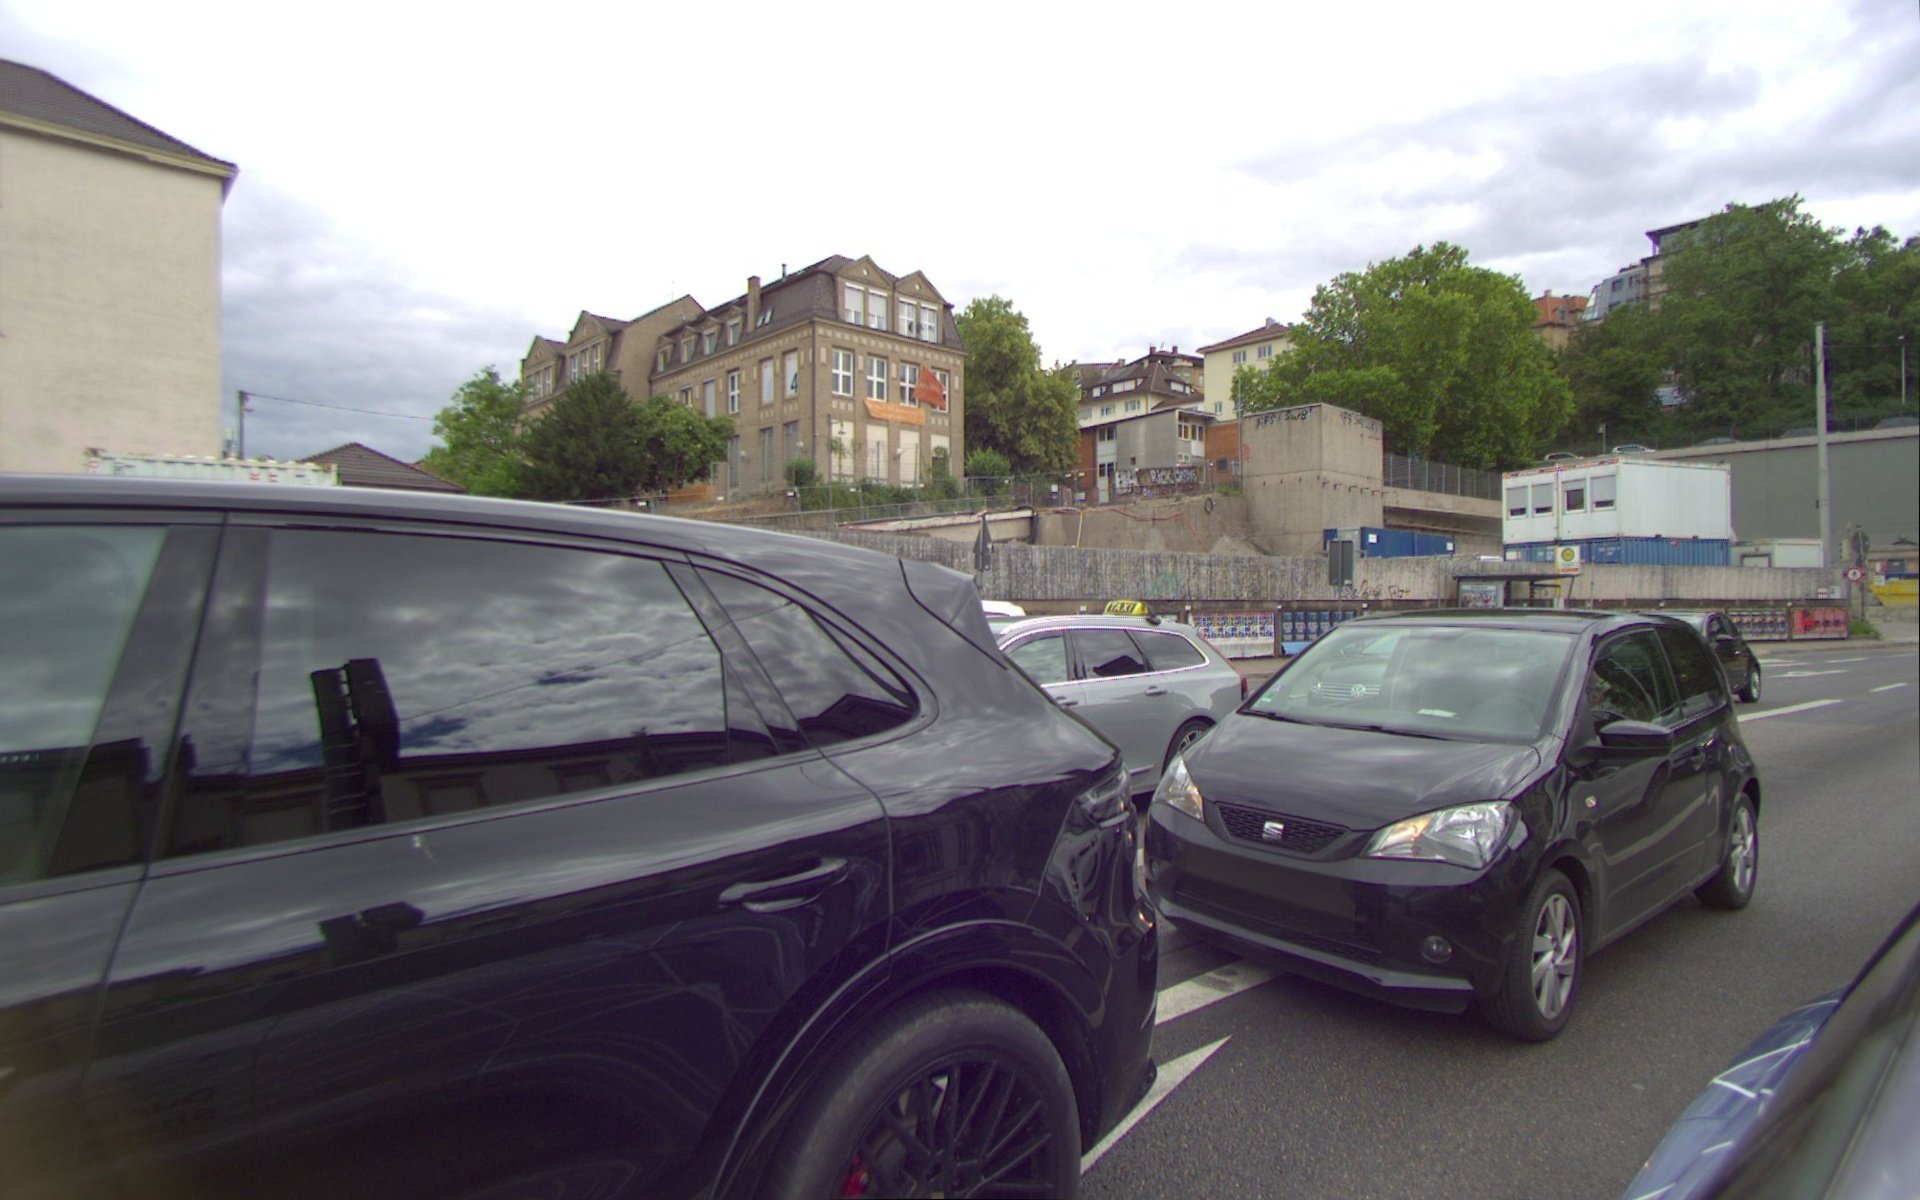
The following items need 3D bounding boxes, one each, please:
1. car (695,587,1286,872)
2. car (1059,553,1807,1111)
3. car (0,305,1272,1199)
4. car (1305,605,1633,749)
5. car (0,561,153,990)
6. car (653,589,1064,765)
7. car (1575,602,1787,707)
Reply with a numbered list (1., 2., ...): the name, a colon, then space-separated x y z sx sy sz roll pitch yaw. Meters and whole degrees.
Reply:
1. car: 0.403 0.656 7.344 4.142 1.484 1.825 -1 0 -40
2. car: 2.415 0.631 4.723 3.841 1.575 1.661 -1 0 -39
3. car: -1.654 0.556 1.671 4.497 1.689 1.998 -1 0 -39
4. car: 6.027 0.767 11.809 4.139 1.381 1.827 1 0 -38
5. car: -5.059 0.637 3.461 3.581 1.529 1.826 -1 0 -39
6. car: -0.935 0.632 10.607 4.004 1.484 1.824 -1 1 -42
7. car: 11.514 0.801 16.098 3.711 1.478 1.721 1 -2 -38
